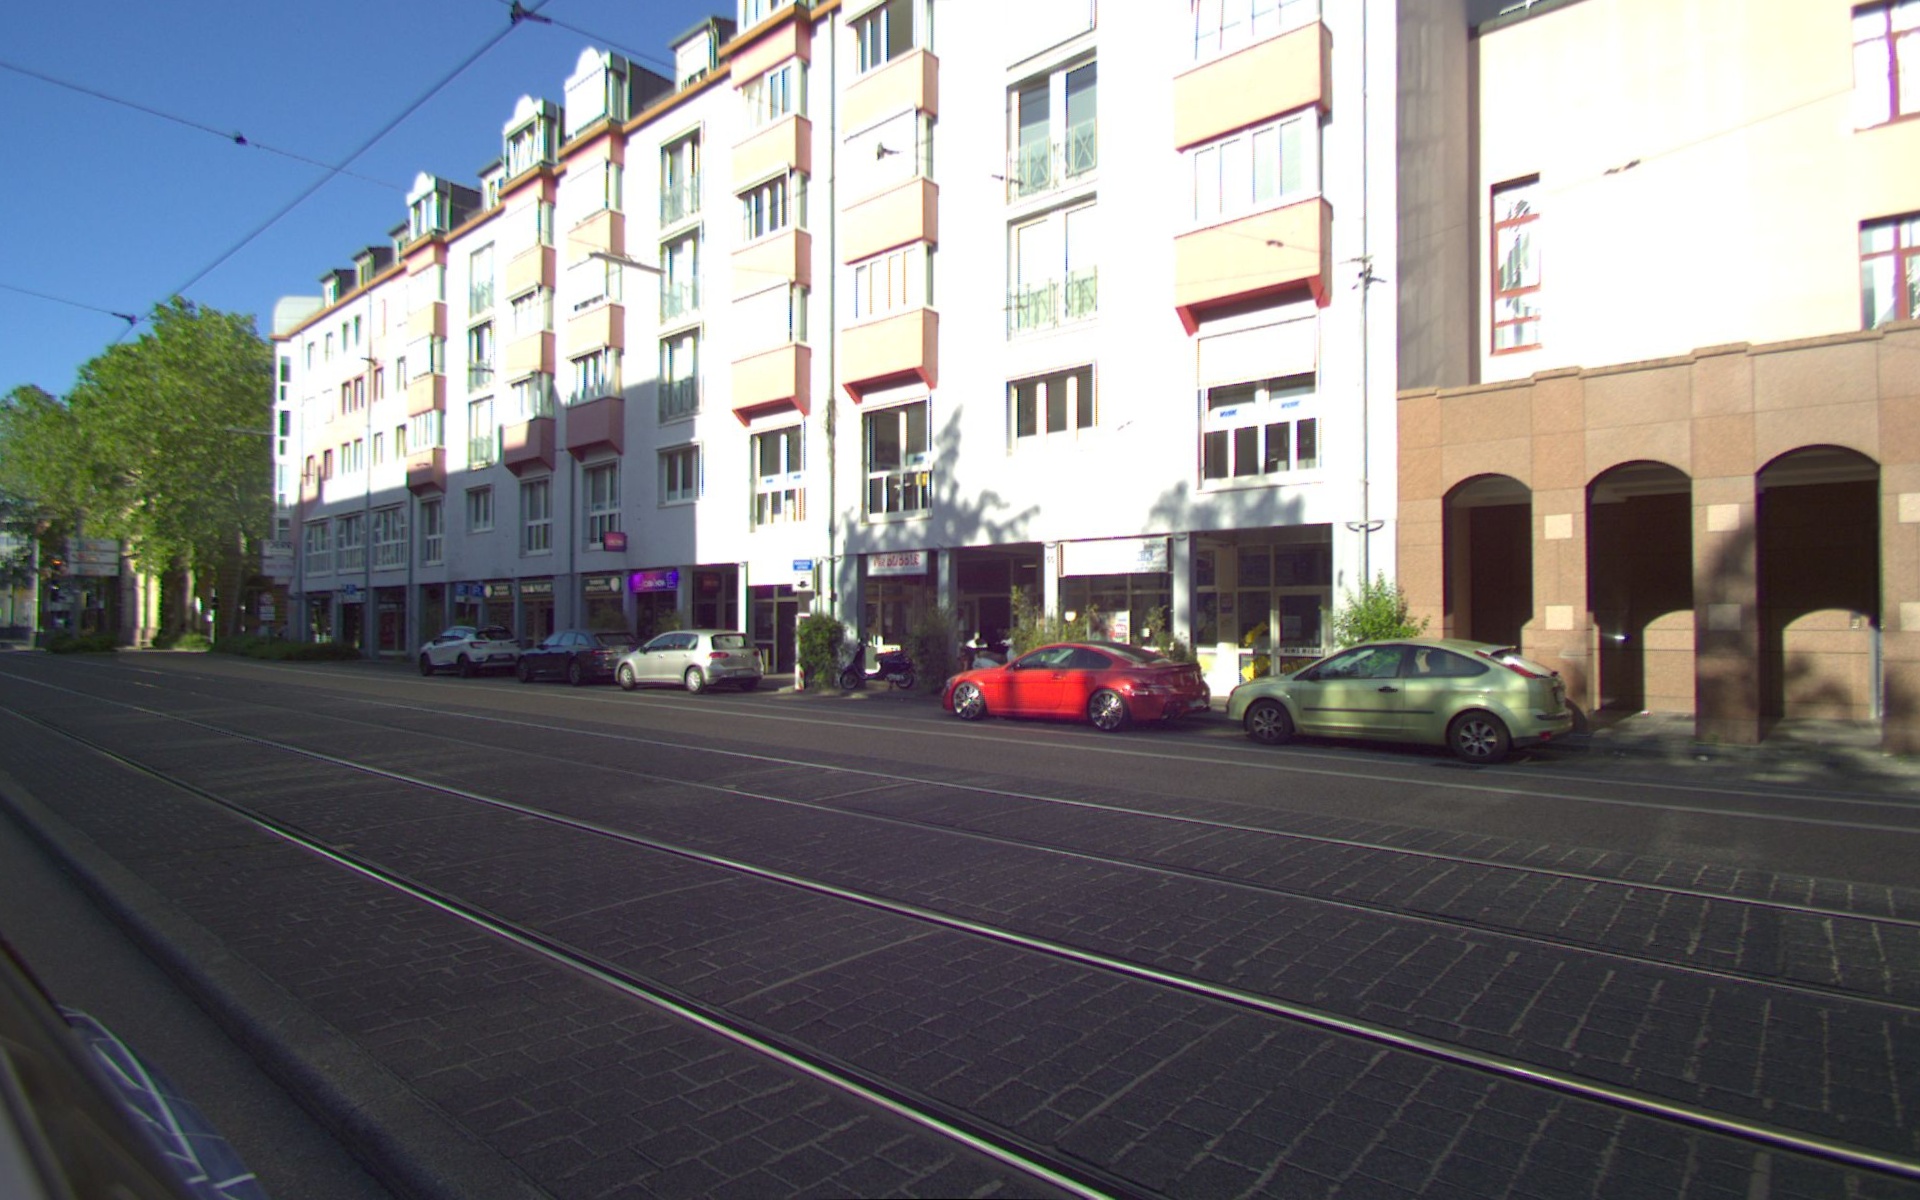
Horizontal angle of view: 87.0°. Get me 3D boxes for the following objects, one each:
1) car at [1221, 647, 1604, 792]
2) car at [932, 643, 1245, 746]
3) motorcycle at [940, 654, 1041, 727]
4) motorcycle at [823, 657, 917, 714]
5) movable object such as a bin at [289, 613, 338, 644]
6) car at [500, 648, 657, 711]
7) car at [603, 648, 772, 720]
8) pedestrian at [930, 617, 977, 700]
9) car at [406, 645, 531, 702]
[{"bbox_3d":[5.798,1.425,13.298,4.288,1.479,1.652,-2,0,41],"label":"car"},{"bbox_3d":[1.990,1.431,16.616,4.817,1.335,1.940,-2,0,40],"label":"car"},{"bbox_3d":[0.578,1.748,19.905,2.080,1.307,0.513,-2,0,40],"label":"motorcycle"},{"bbox_3d":[-2.000,1.868,22.281,2.068,1.203,0.458,-2,0,23],"label":"motorcycle"},{"bbox_3d":[-43.009,1.906,67.340,2.604,2.029,1.179,0,-2,-26],"label":"movable object such as a bin"},{"bbox_3d":[-10.376,2.074,27.335,4.822,1.469,1.882,-2,-2,40],"label":"car"},{"bbox_3d":[-6.547,1.938,24.135,4.202,1.486,1.734,-1,-2,38],"label":"car"},{"bbox_3d":[-0.145,1.326,23.259,0.715,1.857,0.813,-2,-1,31],"label":"pedestrian"},{"bbox_3d":[-15.736,2.278,32.301,4.364,1.626,1.899,-1,-2,38],"label":"car"}]
